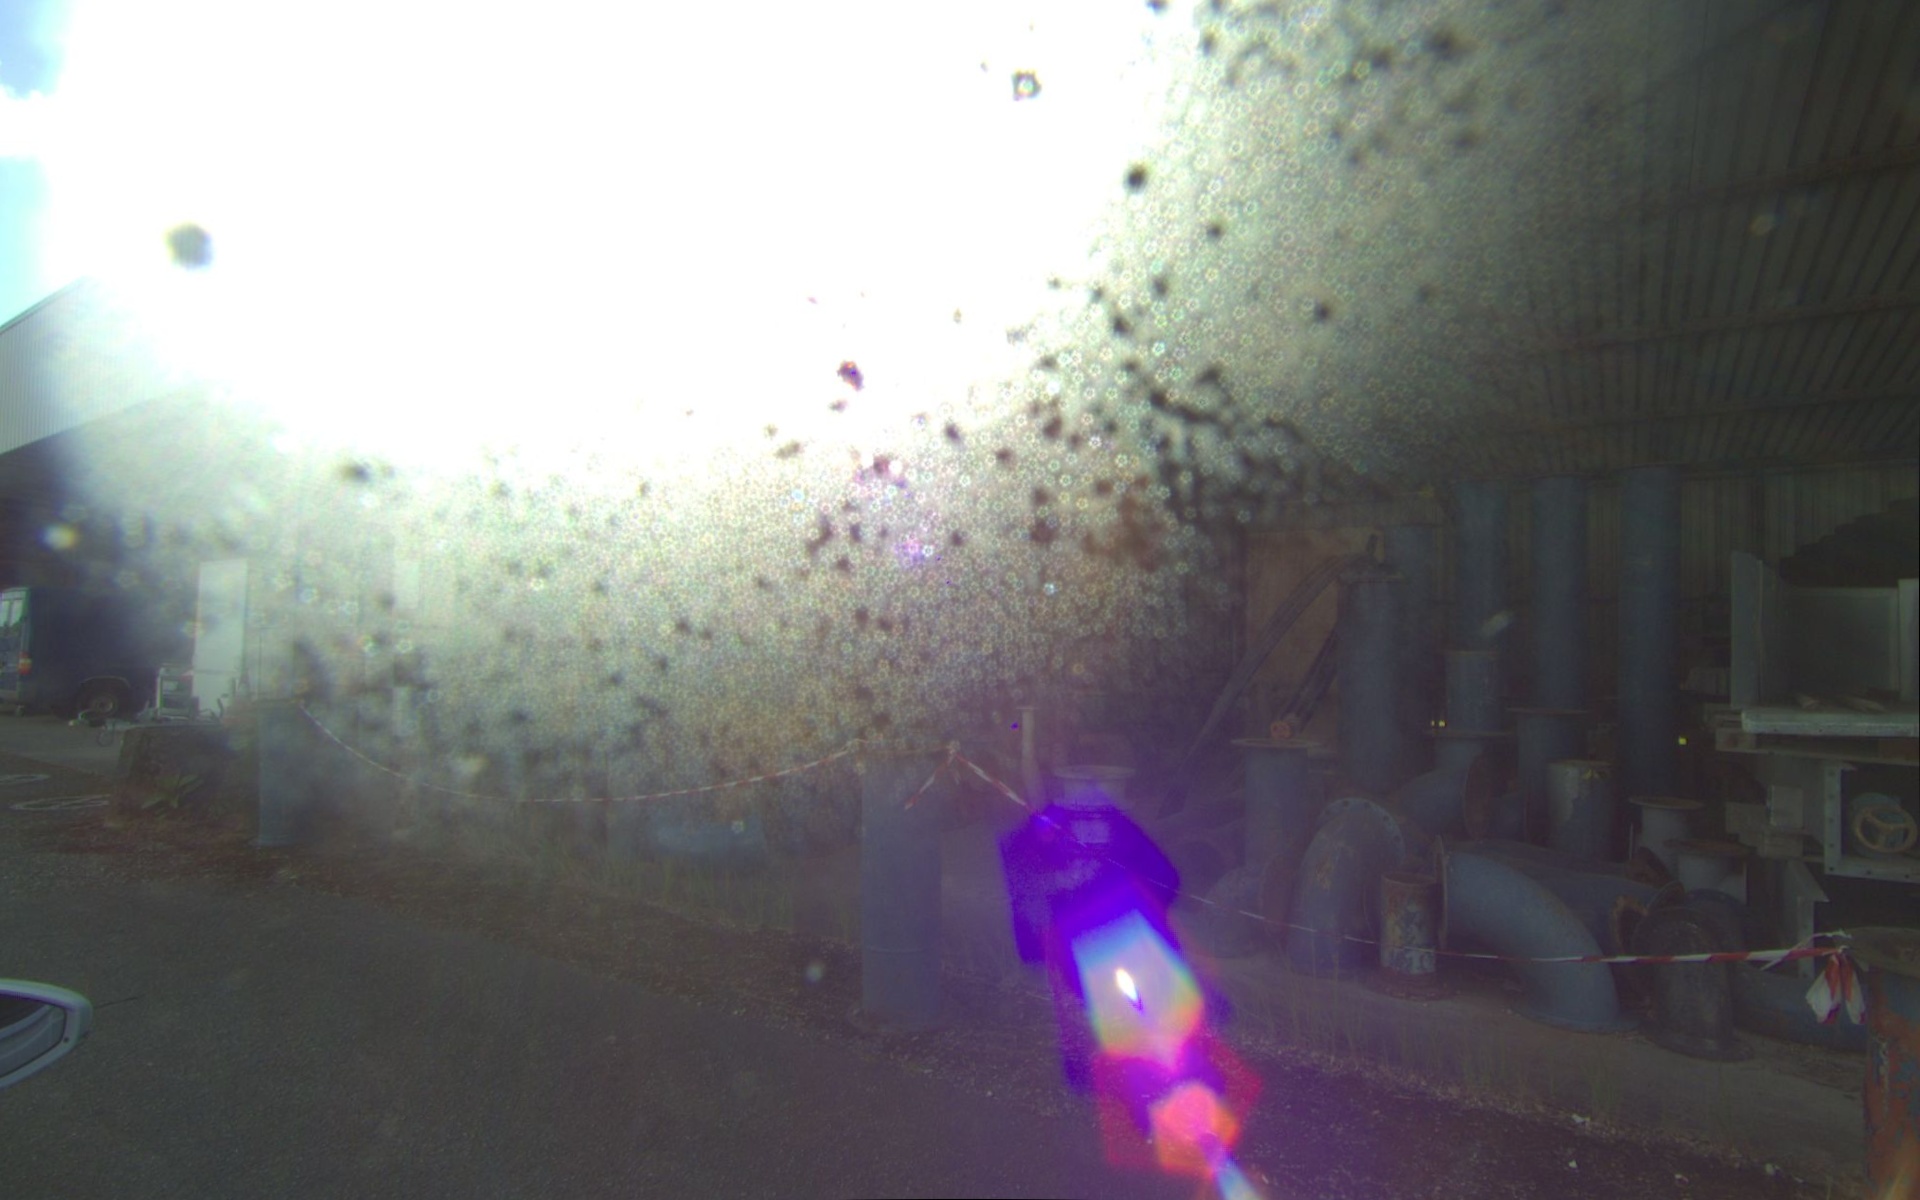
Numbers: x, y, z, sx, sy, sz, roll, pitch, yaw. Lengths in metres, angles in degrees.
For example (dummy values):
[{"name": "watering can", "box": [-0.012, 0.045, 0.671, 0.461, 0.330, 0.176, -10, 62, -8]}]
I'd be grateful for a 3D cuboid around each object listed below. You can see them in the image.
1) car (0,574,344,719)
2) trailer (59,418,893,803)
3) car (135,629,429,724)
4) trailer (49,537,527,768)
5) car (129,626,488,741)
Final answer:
[{"name": "car", "box": [-14.785, 0.901, 18.915, 1.973, 2.354, 4.969, -1, -3, 34]}, {"name": "trailer", "box": [-5.073, 0.322, 13.438, 2.814, 3.256, 10.018, -1, -3, 34]}, {"name": "car", "box": [-11.936, 1.303, 17.921, 1.761, 1.491, 3.985, -1, -3, 29]}, {"name": "trailer", "box": [-8.391, 0.672, 12.971, 1.804, 2.421, 4.796, -1, -3, 38]}, {"name": "car", "box": [-9.838, 1.209, 15.501, 1.751, 1.514, 4.324, -1, -3, 31]}]
